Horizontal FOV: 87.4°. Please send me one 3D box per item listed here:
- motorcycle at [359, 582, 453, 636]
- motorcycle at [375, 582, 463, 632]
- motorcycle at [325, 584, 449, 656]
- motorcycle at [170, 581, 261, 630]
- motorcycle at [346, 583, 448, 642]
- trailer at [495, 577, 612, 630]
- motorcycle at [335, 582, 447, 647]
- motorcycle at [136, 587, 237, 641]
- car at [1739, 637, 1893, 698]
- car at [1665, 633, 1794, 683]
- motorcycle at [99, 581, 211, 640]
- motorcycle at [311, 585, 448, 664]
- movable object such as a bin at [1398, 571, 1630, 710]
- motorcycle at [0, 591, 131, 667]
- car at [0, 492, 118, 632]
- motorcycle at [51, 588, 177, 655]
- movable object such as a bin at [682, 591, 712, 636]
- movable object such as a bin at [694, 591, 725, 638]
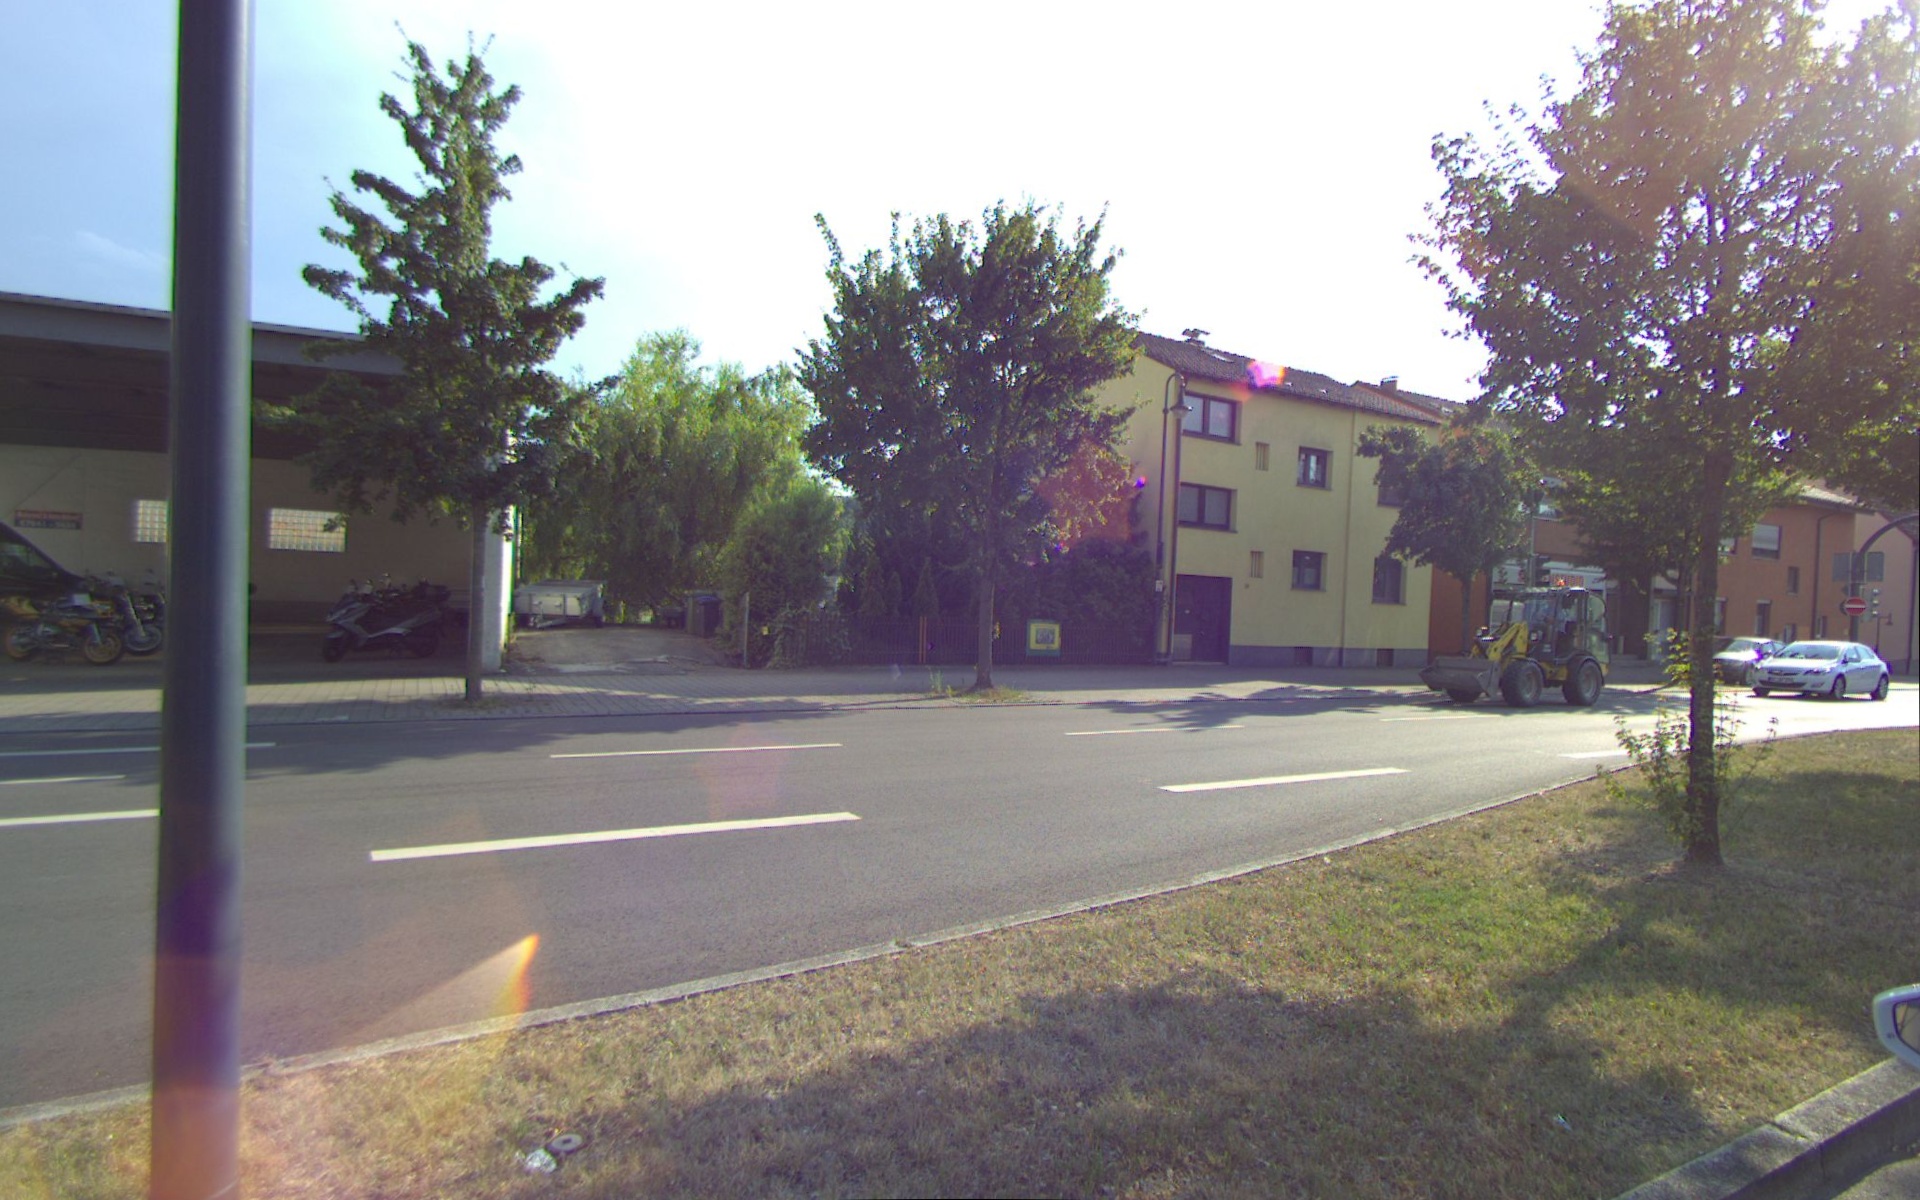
[{"bbox_3d":[-13.979,0.228,25.414,0.516,1.318,2.088,2,1,33],"label":"motorcycle"},{"bbox_3d":[-14.715,0.183,27.379,0.516,1.318,2.088,2,1,33],"label":"motorcycle"},{"bbox_3d":[-11.149,0.380,19.618,0.516,1.318,2.088,2,1,33],"label":"motorcycle"},{"bbox_3d":[-18.149,0.128,24.501,2.006,1.114,0.551,1,1,10],"label":"motorcycle"},{"bbox_3d":[-13.247,0.295,23.704,0.516,1.318,2.088,2,1,33],"label":"motorcycle"},{"bbox_3d":[-9.824,0.058,24.541,2.131,1.127,3.359,2,1,-14],"label":"trailer"},{"bbox_3d":[-12.305,0.307,21.788,0.516,1.318,2.088,2,1,33],"label":"motorcycle"},{"bbox_3d":[-17.125,0.299,22.231,2.006,1.114,0.551,1,1,10],"label":"motorcycle"},{"bbox_3d":[22.485,1.746,26.354,4.162,1.433,1.684,2,0,-29],"label":"car"},{"bbox_3d":[24.194,1.805,31.575,3.893,1.433,1.788,2,0,-29],"label":"car"},{"bbox_3d":[-16.103,0.200,20.088,2.006,1.114,0.551,1,1,10],"label":"motorcycle"},{"bbox_3d":[-10.286,0.414,17.884,0.516,1.318,2.088,2,1,33],"label":"motorcycle"},{"bbox_3d":[11.013,0.789,19.855,4.916,2.494,1.546,2,0,-28],"label":"movable object such as a bin"},{"bbox_3d":[-14.094,0.443,15.723,2.006,1.114,0.551,1,1,10],"label":"motorcycle"},{"bbox_3d":[-22.139,-0.850,21.471,2.628,2.999,5.793,2,0,27],"label":"car"},{"bbox_3d":[-15.033,0.369,17.861,2.006,1.114,0.551,1,1,10],"label":"motorcycle"},{"bbox_3d":[-6.418,0.331,24.545,0.582,1.083,0.538,2,0,-27],"label":"movable object such as a bin"},{"bbox_3d":[-5.923,0.341,23.759,0.582,1.083,0.538,2,0,-27],"label":"movable object such as a bin"}]
